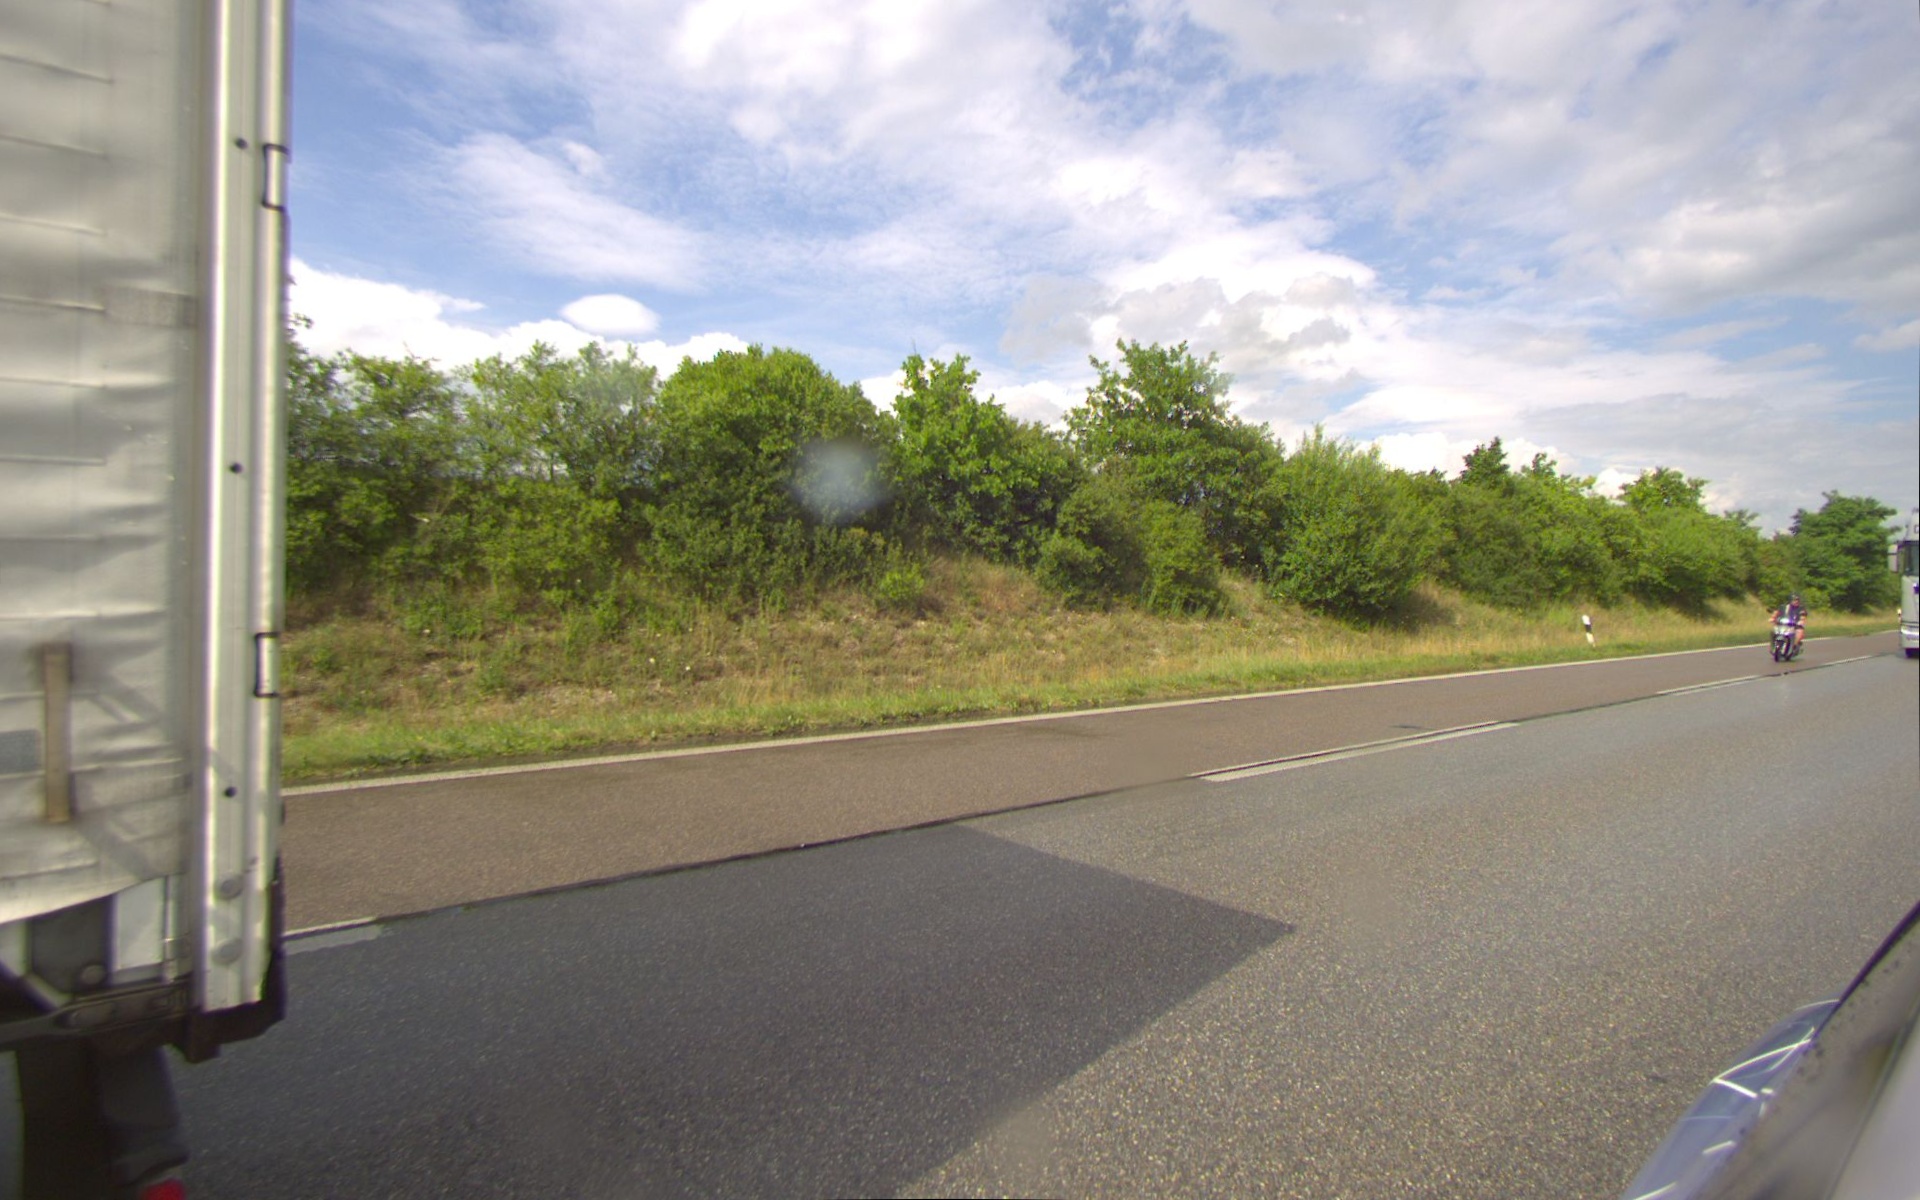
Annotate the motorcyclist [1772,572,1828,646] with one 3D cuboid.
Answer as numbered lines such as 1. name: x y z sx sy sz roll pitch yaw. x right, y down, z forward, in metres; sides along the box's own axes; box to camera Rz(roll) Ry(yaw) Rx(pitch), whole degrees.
1. motorcyclist: 20.011 0.198 24.099 0.983 1.728 0.882 0 0 -41

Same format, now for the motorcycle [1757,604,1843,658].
1. motorcycle: 20.124 0.706 24.213 3.140 1.163 1.186 -1 1 -43

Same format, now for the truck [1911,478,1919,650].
1. truck: 27.338 -0.934 26.814 6.768 4.328 2.646 -1 0 -43
